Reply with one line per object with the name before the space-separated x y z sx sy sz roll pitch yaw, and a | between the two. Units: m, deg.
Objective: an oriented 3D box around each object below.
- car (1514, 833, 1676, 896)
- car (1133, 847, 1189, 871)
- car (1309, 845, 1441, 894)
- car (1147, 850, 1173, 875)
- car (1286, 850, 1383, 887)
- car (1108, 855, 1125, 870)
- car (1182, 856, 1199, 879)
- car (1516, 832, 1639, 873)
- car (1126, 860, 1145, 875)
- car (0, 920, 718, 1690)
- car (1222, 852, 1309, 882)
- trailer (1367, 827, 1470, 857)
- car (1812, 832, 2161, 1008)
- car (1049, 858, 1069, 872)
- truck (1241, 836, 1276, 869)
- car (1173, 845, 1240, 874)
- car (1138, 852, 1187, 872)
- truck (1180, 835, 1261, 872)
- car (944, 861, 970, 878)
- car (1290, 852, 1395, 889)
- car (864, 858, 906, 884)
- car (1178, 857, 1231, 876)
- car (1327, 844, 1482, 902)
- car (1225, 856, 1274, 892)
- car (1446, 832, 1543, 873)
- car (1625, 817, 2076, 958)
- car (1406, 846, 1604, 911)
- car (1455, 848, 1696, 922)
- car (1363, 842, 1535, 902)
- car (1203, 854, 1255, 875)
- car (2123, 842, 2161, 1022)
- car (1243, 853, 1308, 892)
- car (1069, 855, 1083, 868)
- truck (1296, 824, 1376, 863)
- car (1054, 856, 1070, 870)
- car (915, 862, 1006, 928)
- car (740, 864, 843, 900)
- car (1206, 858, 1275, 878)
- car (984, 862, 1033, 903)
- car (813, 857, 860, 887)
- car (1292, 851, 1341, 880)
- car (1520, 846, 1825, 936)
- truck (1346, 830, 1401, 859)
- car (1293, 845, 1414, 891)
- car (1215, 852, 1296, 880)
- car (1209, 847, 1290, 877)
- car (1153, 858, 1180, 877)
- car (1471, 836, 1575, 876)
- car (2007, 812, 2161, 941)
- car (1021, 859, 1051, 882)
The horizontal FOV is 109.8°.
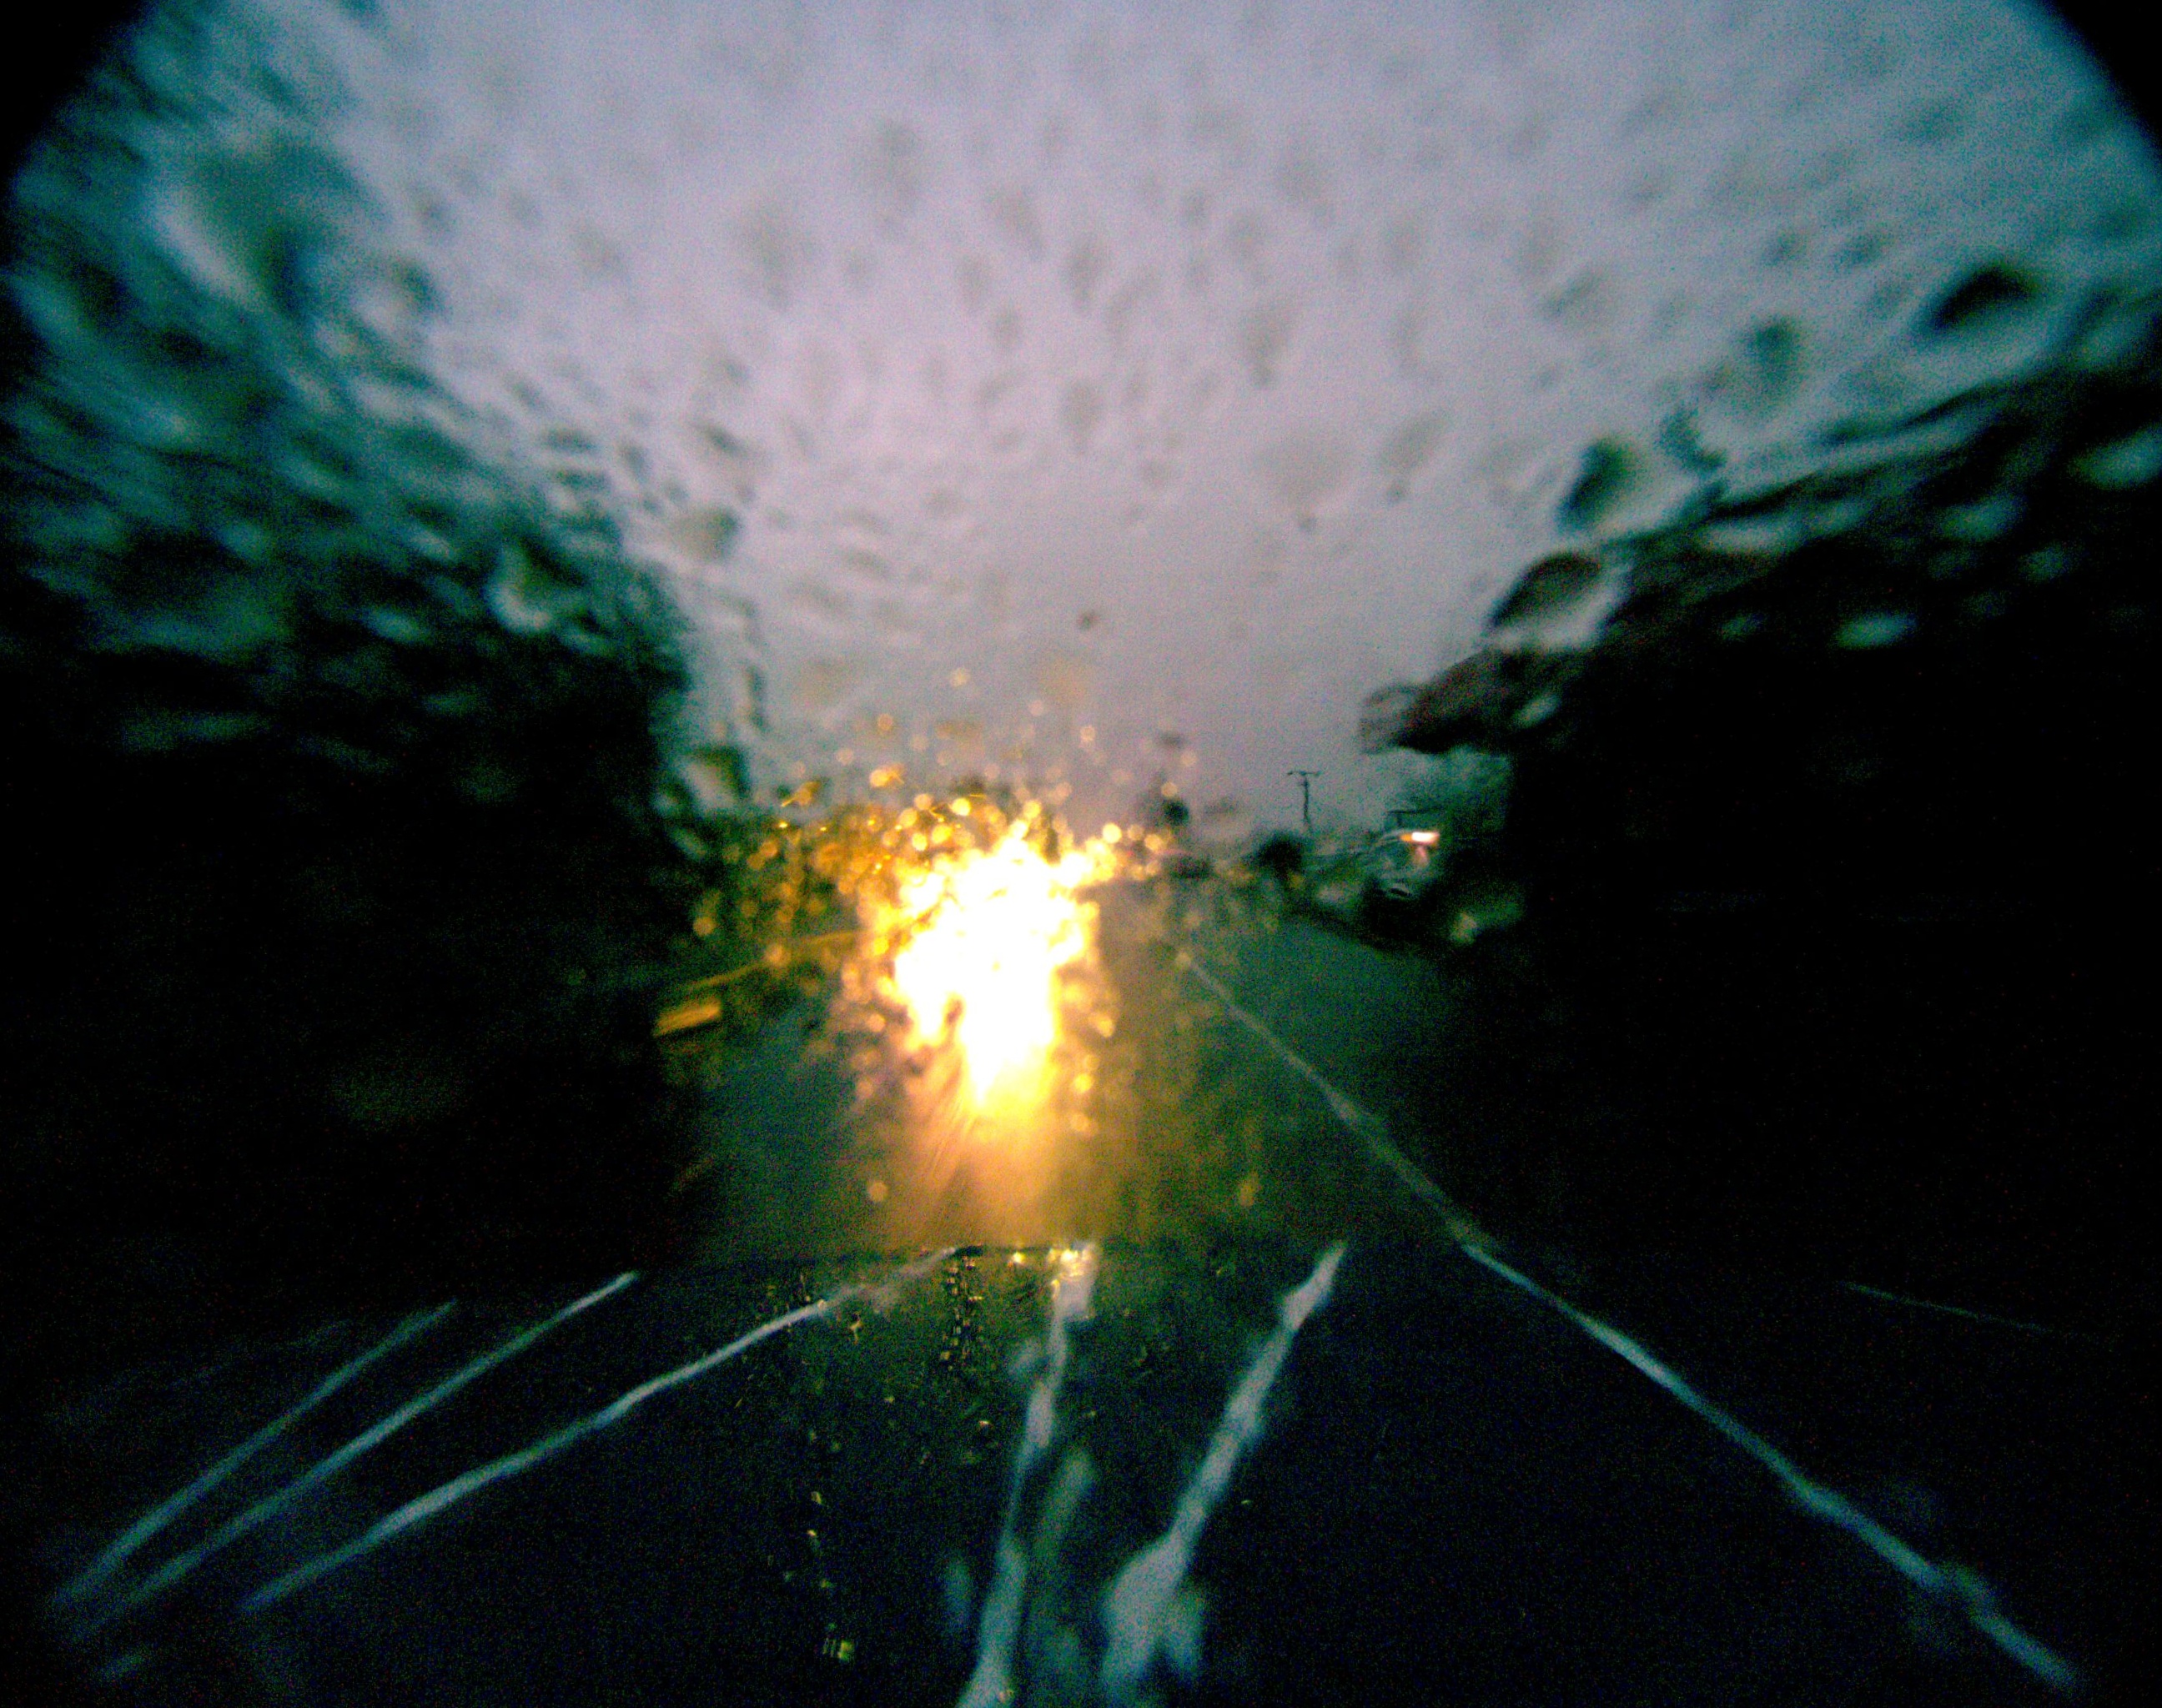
car | 14.513 0.291 21.771 1.872 1.545 4.045 -3 -1 1
car | 9.173 0.588 87.714 6.172 2.616 2.176 0 0 0
car | 10.241 0.531 26.669 3.868 1.443 1.840 -3 0 0
car | 6.827 0.709 66.075 1.839 2.001 4.484 -2 0 2
car | 11.569 0.656 34.863 3.782 1.451 1.776 -3 0 -2
car | 3.695 0.907 79.322 1.607 1.525 4.000 0 0 0
car | 8.171 0.974 56.473 1.174 1.634 2.872 -1 0 9
car | 21.515 -0.062 33.033 3.997 1.567 1.958 -2 0 0
car | 5.557 1.388 77.907 1.655 1.411 3.743 -1 -2 1
car | -3.148 1.136 2.359 1.645 1.358 4.769 -2 0 1
car | 10.247 0.731 42.409 4.346 1.489 1.826 -2 0 1
trailer | 34.926 -1.226 78.594 10.511 2.658 2.217 -3 0 -14
car | 10.454 0.581 7.925 3.868 1.550 1.840 -2 0 0
car | -2.436 1.159 82.679 2.016 1.484 3.999 -2 0 -4
truck | 19.073 -0.153 82.090 2.036 3.434 5.850 1 0 -4
car | 12.050 0.530 73.121 6.048 2.623 2.195 -1 0 -2
car | 8.883 0.898 82.944 5.159 2.137 2.058 0 0 0
truck | 12.649 -0.029 69.254 6.877 3.123 2.334 -2 0 -1
car | -10.812 1.360 66.635 1.576 1.388 4.168 -1 0 0
car | 11.249 0.694 32.851 3.868 1.338 1.840 -3 0 0
car | -14.581 1.211 56.721 1.998 1.848 4.298 -1 0 0
car | 9.929 0.978 61.375 3.920 1.469 1.810 1 0 0
car | 10.124 0.581 23.995 4.041 1.545 1.823 -3 0 0
car | 7.482 0.851 34.001 1.522 1.534 3.015 0 0 0
car | 21.658 -0.066 39.939 3.997 1.911 1.958 -2 0 0
car | 10.460 0.431 10.613 4.291 1.647 1.980 -2 0 0
car | 10.428 0.580 18.908 3.868 1.397 1.840 -2 0 0
car | 10.266 0.612 15.993 3.868 1.338 1.840 -2 0 0
car | 10.295 0.491 21.482 3.868 1.401 1.944 -3 0 0
car | 13.001 0.902 66.959 4.060 1.722 2.024 -2 0 -3
car | 10.580 0.567 5.388 3.868 1.433 1.840 -2 0 0
car | 7.544 0.684 29.839 1.686 1.412 3.741 -2 0 2
car | -0.696 1.051 108.006 1.890 1.618 3.999 -2 0 -2
truck | 30.997 -1.260 92.342 8.715 4.236 3.004 -3 1 -11
car | -2.346 1.155 94.696 1.890 1.618 4.000 -3 0 0
car | -3.218 1.050 21.114 1.712 1.566 4.464 -2 0 1
car | -14.929 1.404 39.322 4.492 1.599 2.014 -2 0 -43
car | 11.829 1.040 56.514 4.768 1.429 1.783 0 0 -2
car | -2.969 1.124 31.881 1.569 1.520 4.006 -2 0 1
car | -17.539 1.282 54.677 1.998 2.002 4.000 -2 0 0
car | 14.243 0.667 46.051 1.674 1.667 3.706 -2 0 -2
car | 10.148 0.595 13.266 3.868 1.338 1.840 -2 0 0
truck | 29.753 -0.996 77.288 4.726 2.681 2.232 -3 0 -14
car | 10.712 0.544 30.100 4.057 1.640 1.942 -2 0 2
car | 10.202 0.691 44.748 4.346 1.489 1.995 -2 0 3
car | 10.435 0.465 47.264 4.547 1.667 2.010 -2 0 -4
car | 6.725 1.052 60.205 1.574 1.314 4.254 0 2 -2
car | 21.919 0.089 37.801 3.997 1.797 1.958 -2 0 0
car | 14.797 0.258 9.288 1.893 1.647 4.148 -2 0 0
car | -3.263 1.126 54.407 2.016 1.484 3.999 -2 0 -4
